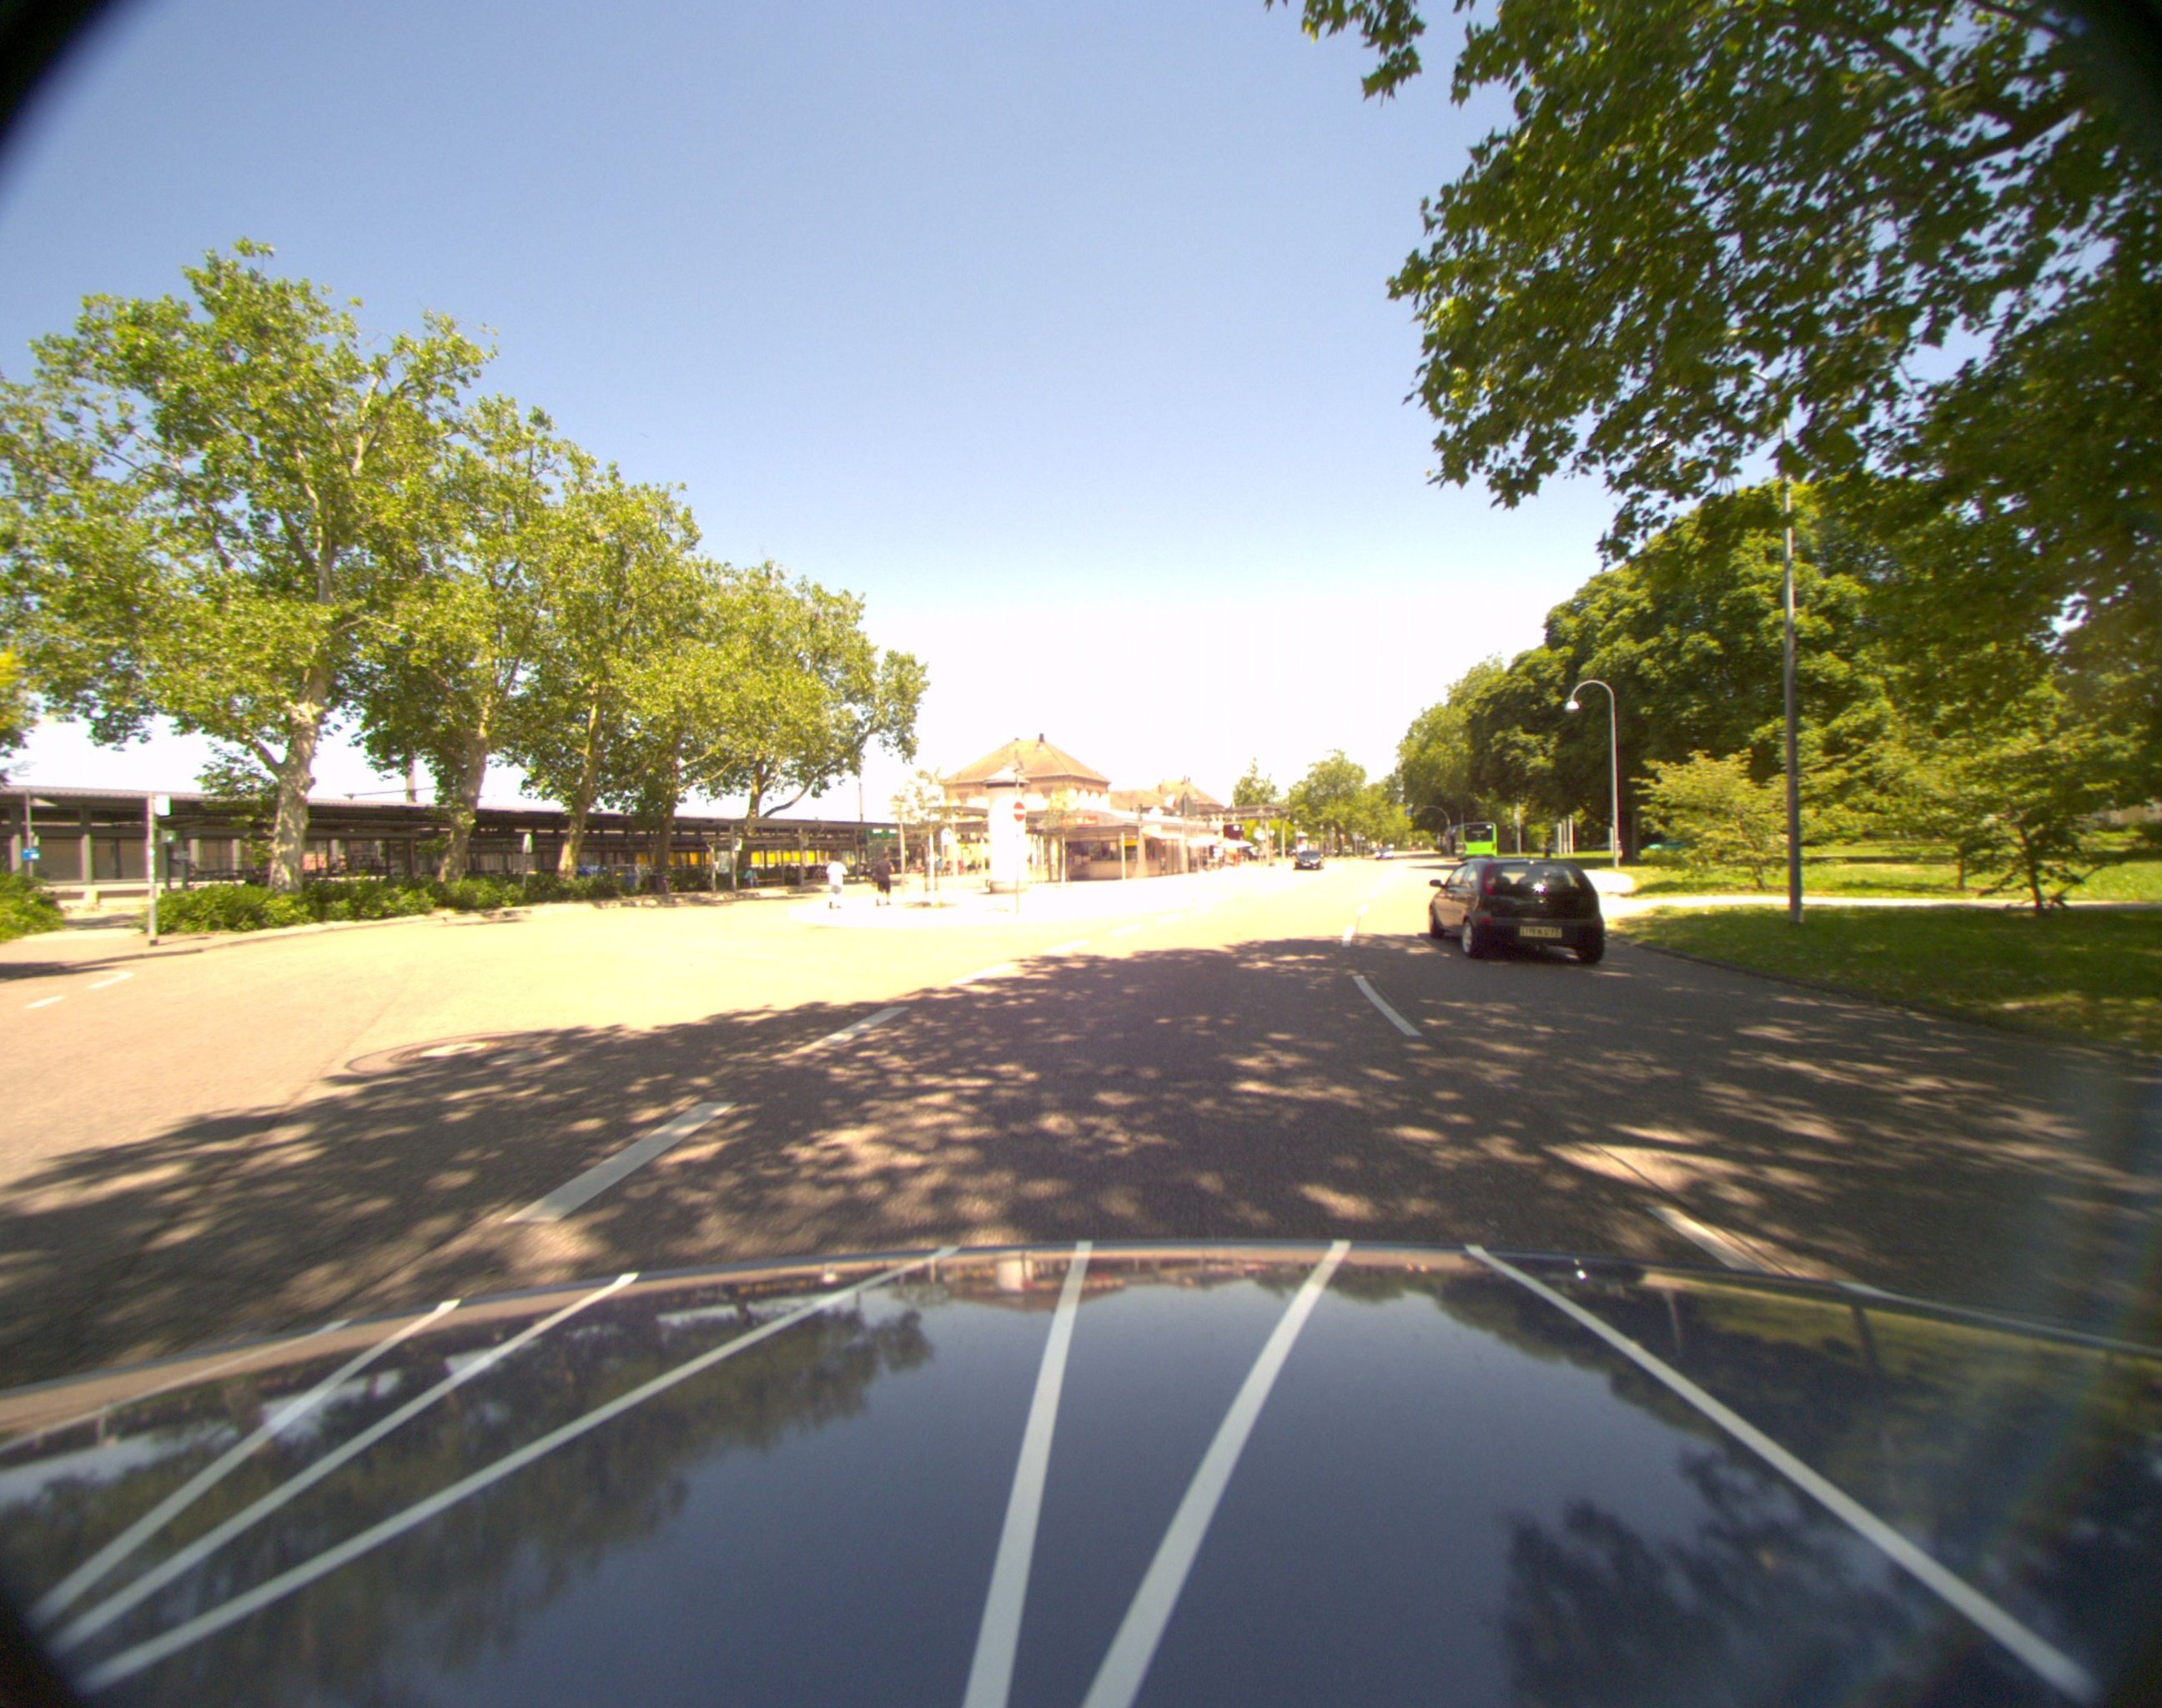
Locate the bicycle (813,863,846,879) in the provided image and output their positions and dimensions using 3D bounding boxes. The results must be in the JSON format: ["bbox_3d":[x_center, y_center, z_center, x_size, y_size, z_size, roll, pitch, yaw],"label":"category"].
[{"bbox_3d":[-17.316,1.169,52.341,2.164,1.068,0.671,0,5,22],"label":"bicycle"}]

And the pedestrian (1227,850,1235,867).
[{"bbox_3d":[11.269,0.358,56.942,0.503,1.225,0.514,-2,1,19],"label":"pedestrian"}]

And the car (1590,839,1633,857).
[{"bbox_3d":[63.413,-0.773,90.892,3.990,2.002,2.003,-2,1,27],"label":"car"}]

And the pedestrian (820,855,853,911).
[{"bbox_3d":[-7.880,0.922,24.488,0.916,1.726,0.675,-2,1,-18],"label":"pedestrian"}]

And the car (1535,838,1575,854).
[{"bbox_3d":[58.483,-0.969,93.826,3.990,1.793,2.003,-2,0,27],"label":"car"}]

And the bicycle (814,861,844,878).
[{"bbox_3d":[-18.750,1.121,56.597,0.668,1.068,2.172,1,5,28],"label":"bicycle"}]

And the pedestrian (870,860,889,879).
[{"bbox_3d":[-14.146,1.092,53.304,0.960,1.297,0.832,-1,1,25],"label":"pedestrian"}]

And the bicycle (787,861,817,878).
[{"bbox_3d":[-21.222,1.183,57.804,0.668,1.068,2.172,1,5,28],"label":"bicycle"}]

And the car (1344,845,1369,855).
[{"bbox_3d":[47.366,-0.653,130.720,3.992,1.655,2.002,-2,0,17],"label":"car"}]

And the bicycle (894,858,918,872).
[{"bbox_3d":[-15.254,0.972,66.302,0.668,1.068,2.172,1,5,28],"label":"bicycle"}]

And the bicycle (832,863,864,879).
[{"bbox_3d":[-16.531,1.211,53.945,2.164,1.068,0.671,0,5,22],"label":"bicycle"}]

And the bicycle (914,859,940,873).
[{"bbox_3d":[-12.788,0.956,63.208,2.164,1.068,0.671,1,5,28],"label":"bicycle"}]

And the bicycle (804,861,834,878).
[{"bbox_3d":[-19.685,1.165,57.106,0.668,1.068,2.172,1,5,28],"label":"bicycle"}]

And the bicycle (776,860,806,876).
[{"bbox_3d":[-22.276,1.085,58.363,0.668,1.068,2.172,1,5,28],"label":"bicycle"}]

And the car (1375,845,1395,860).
[{"bbox_3d":[32.685,-0.226,81.742,1.775,1.536,4.189,0,1,25],"label":"car"}]

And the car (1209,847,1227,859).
[{"bbox_3d":[22.784,-0.108,126.215,1.995,1.869,4.006,-2,0,25],"label":"car"}]

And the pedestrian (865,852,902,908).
[{"bbox_3d":[-6.499,0.854,24.991,0.917,1.774,0.693,-2,1,-43],"label":"pedestrian"}]

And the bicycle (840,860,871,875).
[{"bbox_3d":[-18.128,1.085,60.987,2.167,1.068,0.863,-1,4,7],"label":"bicycle"}]

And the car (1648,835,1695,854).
[{"bbox_3d":[68.846,-1.123,88.672,3.990,2.002,2.003,-2,0,24],"label":"car"}]

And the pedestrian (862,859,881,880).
[{"bbox_3d":[-14.469,1.058,52.459,0.960,1.378,0.832,-1,1,25],"label":"pedestrian"}]

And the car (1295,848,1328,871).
[{"bbox_3d":[17.023,0.371,56.001,1.775,1.536,4.189,0,1,25],"label":"car"}]

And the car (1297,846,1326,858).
[{"bbox_3d":[35.025,-0.343,115.338,3.991,1.655,2.003,-2,0,21],"label":"car"}]

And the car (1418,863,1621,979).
[{"bbox_3d":[6.450,0.866,11.677,1.643,1.409,4.004,0,0,14],"label":"car"}]

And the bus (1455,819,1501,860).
[{"bbox_3d":[35.567,-1.257,68.417,2.810,3.283,11.876,-2,0,24],"label":"bus"}]

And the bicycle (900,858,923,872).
[{"bbox_3d":[-14.657,0.965,65.903,0.668,1.068,2.172,1,5,28],"label":"bicycle"}]

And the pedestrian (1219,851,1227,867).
[{"bbox_3d":[10.669,0.390,57.075,0.489,1.204,0.473,-1,1,30],"label":"pedestrian"}]

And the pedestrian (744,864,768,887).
[{"bbox_3d":[-18.543,1.210,43.354,0.829,1.267,0.869,-1,1,21],"label":"pedestrian"}]

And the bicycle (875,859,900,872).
[{"bbox_3d":[-16.942,0.973,66.487,2.164,1.068,0.671,1,5,28],"label":"bicycle"}]

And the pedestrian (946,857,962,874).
[{"bbox_3d":[-10.307,0.920,61.751,0.960,1.297,0.832,-1,1,25],"label":"pedestrian"}]
